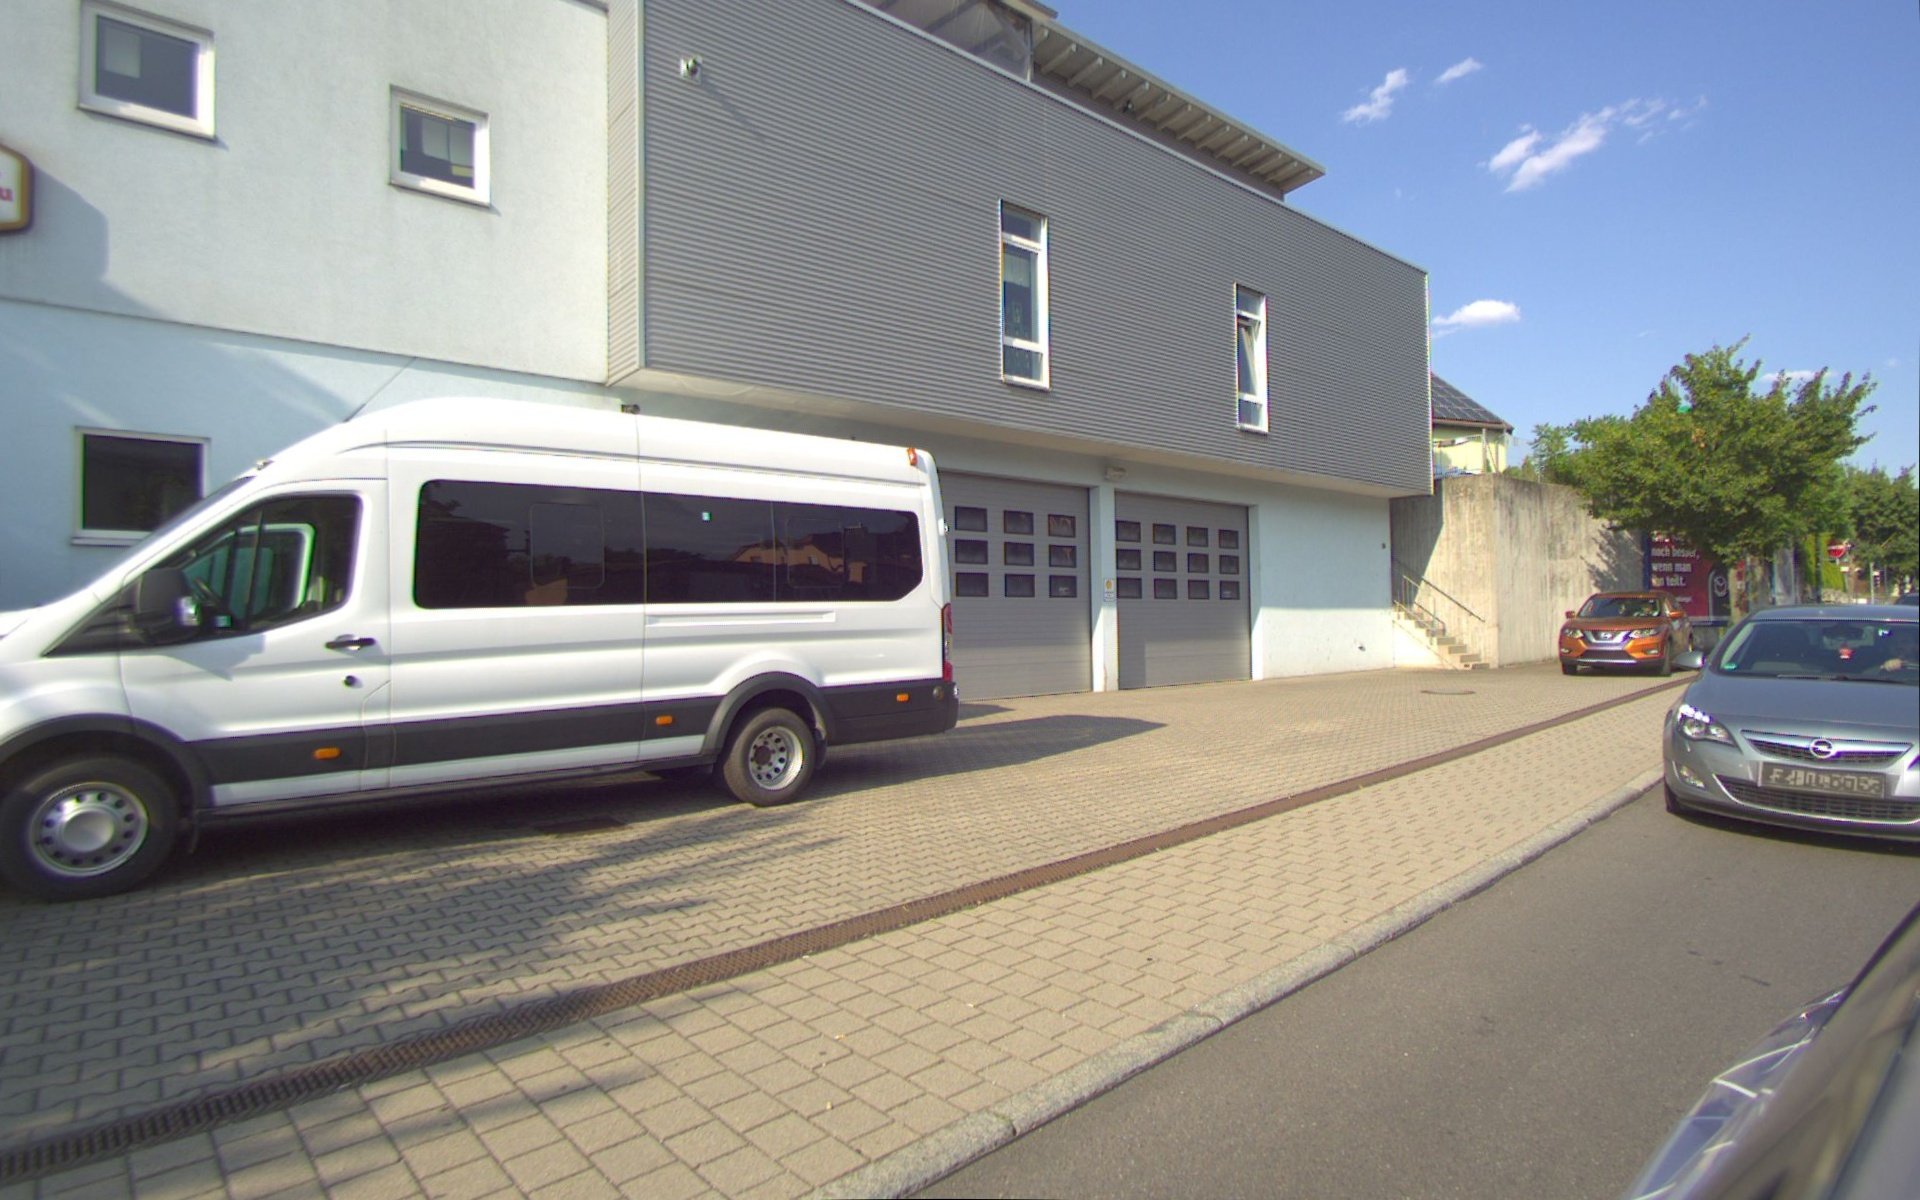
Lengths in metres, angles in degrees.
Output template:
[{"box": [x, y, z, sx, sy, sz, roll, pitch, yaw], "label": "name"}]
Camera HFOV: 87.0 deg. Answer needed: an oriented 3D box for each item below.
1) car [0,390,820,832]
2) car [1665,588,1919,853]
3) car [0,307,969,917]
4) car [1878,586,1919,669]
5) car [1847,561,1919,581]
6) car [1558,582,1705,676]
[{"box": [-4.493, 0.095, 9.042, 6.330, 2.757, 2.114, 1, -1, -41], "label": "car"}, {"box": [6.489, 0.675, 7.234, 4.075, 1.440, 1.649, 1, 0, -44], "label": "car"}, {"box": [-3.063, 0.076, 7.003, 6.487, 2.715, 2.153, 1, -1, -41], "label": "car"}, {"box": [20.554, 0.559, 20.833, 3.982, 1.626, 1.792, 1, -1, -38], "label": "car"}, {"box": [74.987, -2.335, 82.239, 1.644, 1.475, 4.086, 0, -1, -25], "label": "car"}, {"box": [13.591, 0.524, 20.381, 1.833, 1.670, 4.469, -1, -1, 42], "label": "car"}]
